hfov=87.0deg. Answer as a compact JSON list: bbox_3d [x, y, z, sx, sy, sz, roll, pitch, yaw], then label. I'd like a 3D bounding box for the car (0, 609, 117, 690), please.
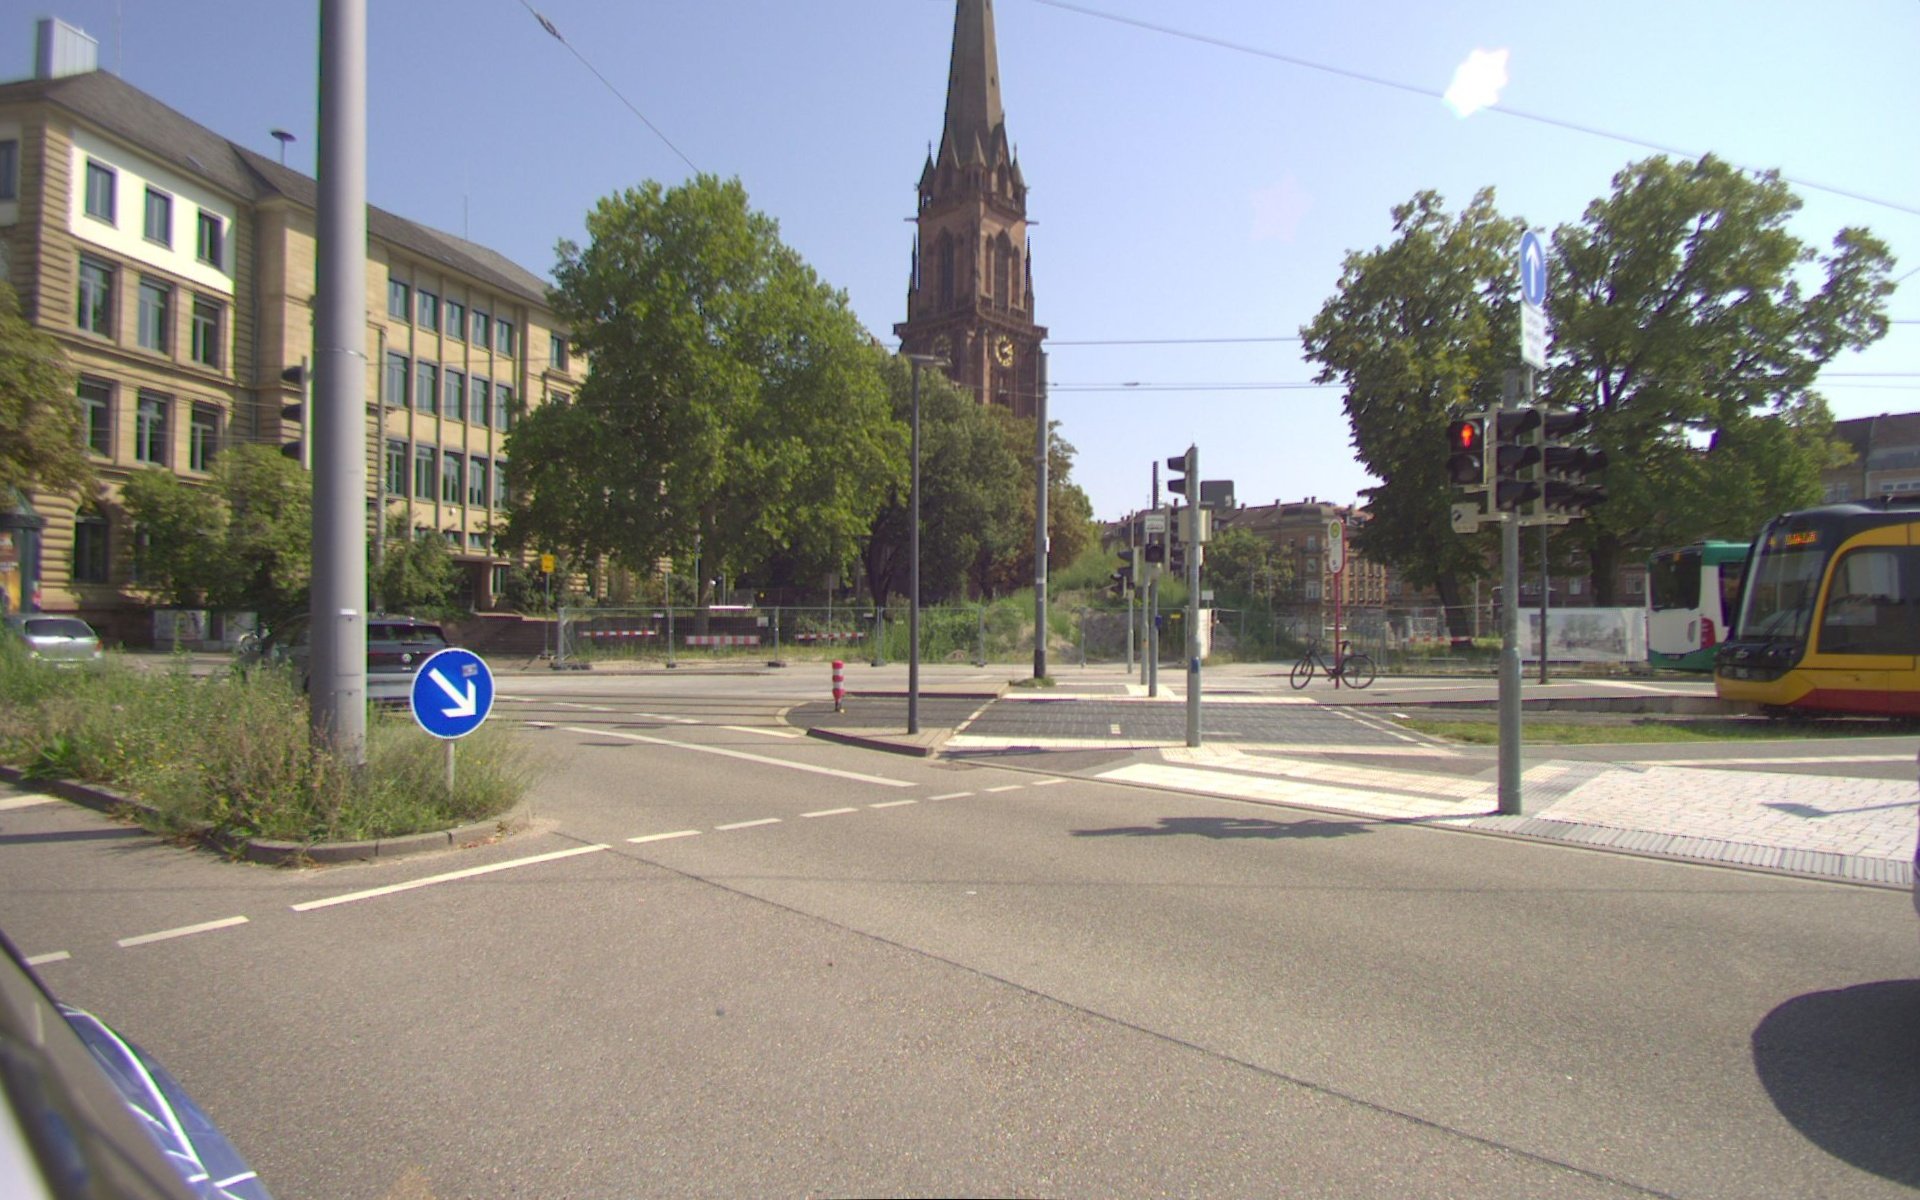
[{"bbox_3d":[-19.658,0.974,20.779,4.292,1.542,1.645,0,-2,20],"label":"car"}]

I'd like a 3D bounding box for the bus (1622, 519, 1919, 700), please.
[{"bbox_3d":[21.276,0.218,22.684,10.470,3.803,2.961,0,-1,7],"label":"bus"}]

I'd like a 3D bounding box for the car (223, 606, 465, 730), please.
[{"bbox_3d":[-8.967,0.892,14.605,4.179,1.542,1.679,-1,-2,39],"label":"car"}]

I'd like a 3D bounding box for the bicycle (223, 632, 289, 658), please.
[{"bbox_3d":[-25.333,1.599,36.479,0.740,0.901,2.178,0,-2,3],"label":"bicycle"}]

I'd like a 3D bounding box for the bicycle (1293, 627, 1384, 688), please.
[{"bbox_3d":[7.869,1.185,21.102,1.687,1.232,0.607,0,-1,12],"label":"bicycle"}]

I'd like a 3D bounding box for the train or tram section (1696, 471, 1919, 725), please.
[{"bbox_3d":[21.079,0.020,14.668,17.531,3.575,2.859,0,-1,8],"label":"train or tram section"}]
